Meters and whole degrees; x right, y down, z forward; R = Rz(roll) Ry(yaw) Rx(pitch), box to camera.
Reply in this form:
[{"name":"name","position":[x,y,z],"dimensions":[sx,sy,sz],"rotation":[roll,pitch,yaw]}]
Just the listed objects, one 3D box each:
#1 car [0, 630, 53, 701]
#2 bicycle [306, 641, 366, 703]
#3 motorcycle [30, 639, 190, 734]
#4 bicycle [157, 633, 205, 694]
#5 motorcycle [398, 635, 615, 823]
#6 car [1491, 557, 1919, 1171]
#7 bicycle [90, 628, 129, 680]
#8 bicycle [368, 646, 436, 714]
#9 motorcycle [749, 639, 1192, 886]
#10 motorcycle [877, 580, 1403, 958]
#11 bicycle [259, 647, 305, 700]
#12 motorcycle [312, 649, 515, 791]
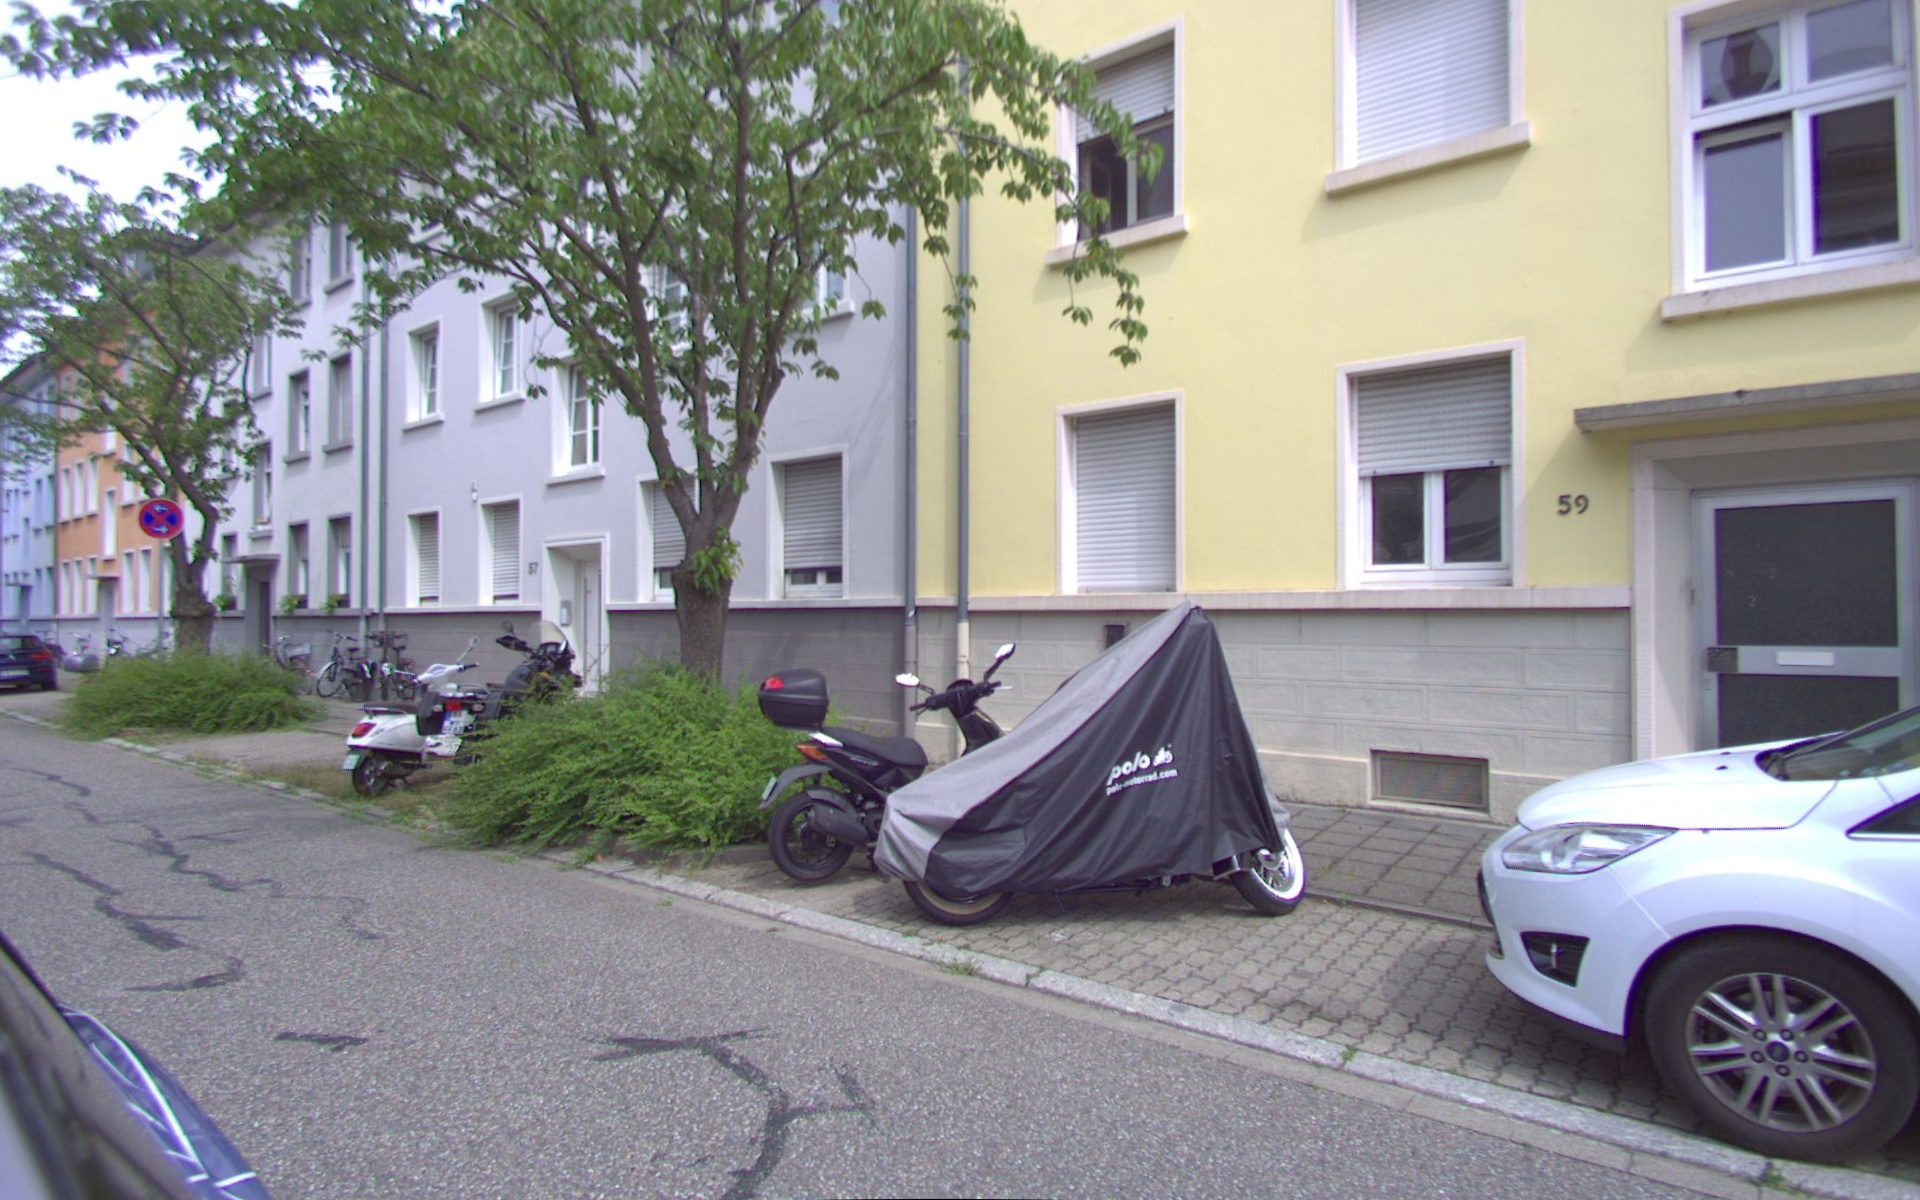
[{"name":"car","position":[-23.109,1.519,23.815],"dimensions":[4.113,1.495,1.820],"rotation":[-1,1,36]},{"name":"bicycle","position":[-10.912,1.243,17.684],"dimensions":[1.433,1.014,0.416],"rotation":[-1,-4,39]},{"name":"motorcycle","position":[-13.529,1.345,16.209],"dimensions":[0.781,1.418,2.017],"rotation":[1,-3,0]},{"name":"bicycle","position":[-17.887,1.440,23.222],"dimensions":[1.810,1.344,0.425],"rotation":[-1,-4,40]},{"name":"motorcycle","position":[-4.048,1.095,9.293],"dimensions":[0.590,1.493,2.230],"rotation":[1,-3,11]},{"name":"car","position":[3.884,0.682,2.583],"dimensions":[4.250,1.568,1.740],"rotation":[-1,-2,38]},{"name":"bicycle","position":[-22.946,1.446,27.304],"dimensions":[1.810,1.344,0.425],"rotation":[-1,-4,40]},{"name":"bicycle","position":[-8.886,1.257,16.105],"dimensions":[1.433,1.014,0.416],"rotation":[-1,-4,39]},{"name":"motorcycle","position":[0.055,0.916,5.872],"dimensions":[2.418,1.321,0.644],"rotation":[2,-3,-6]},{"name":"motorcycle","position":[0.808,0.766,5.115],"dimensions":[2.436,1.689,0.940],"rotation":[0,-2,-5]},{"name":"bicycle","position":[-13.180,1.416,19.663],"dimensions":[1.433,0.974,0.306],"rotation":[-1,-4,40]},{"name":"motorcycle","position":[-5.131,1.080,9.668],"dimensions":[0.590,1.201,1.905],"rotation":[1,-3,11]}]
